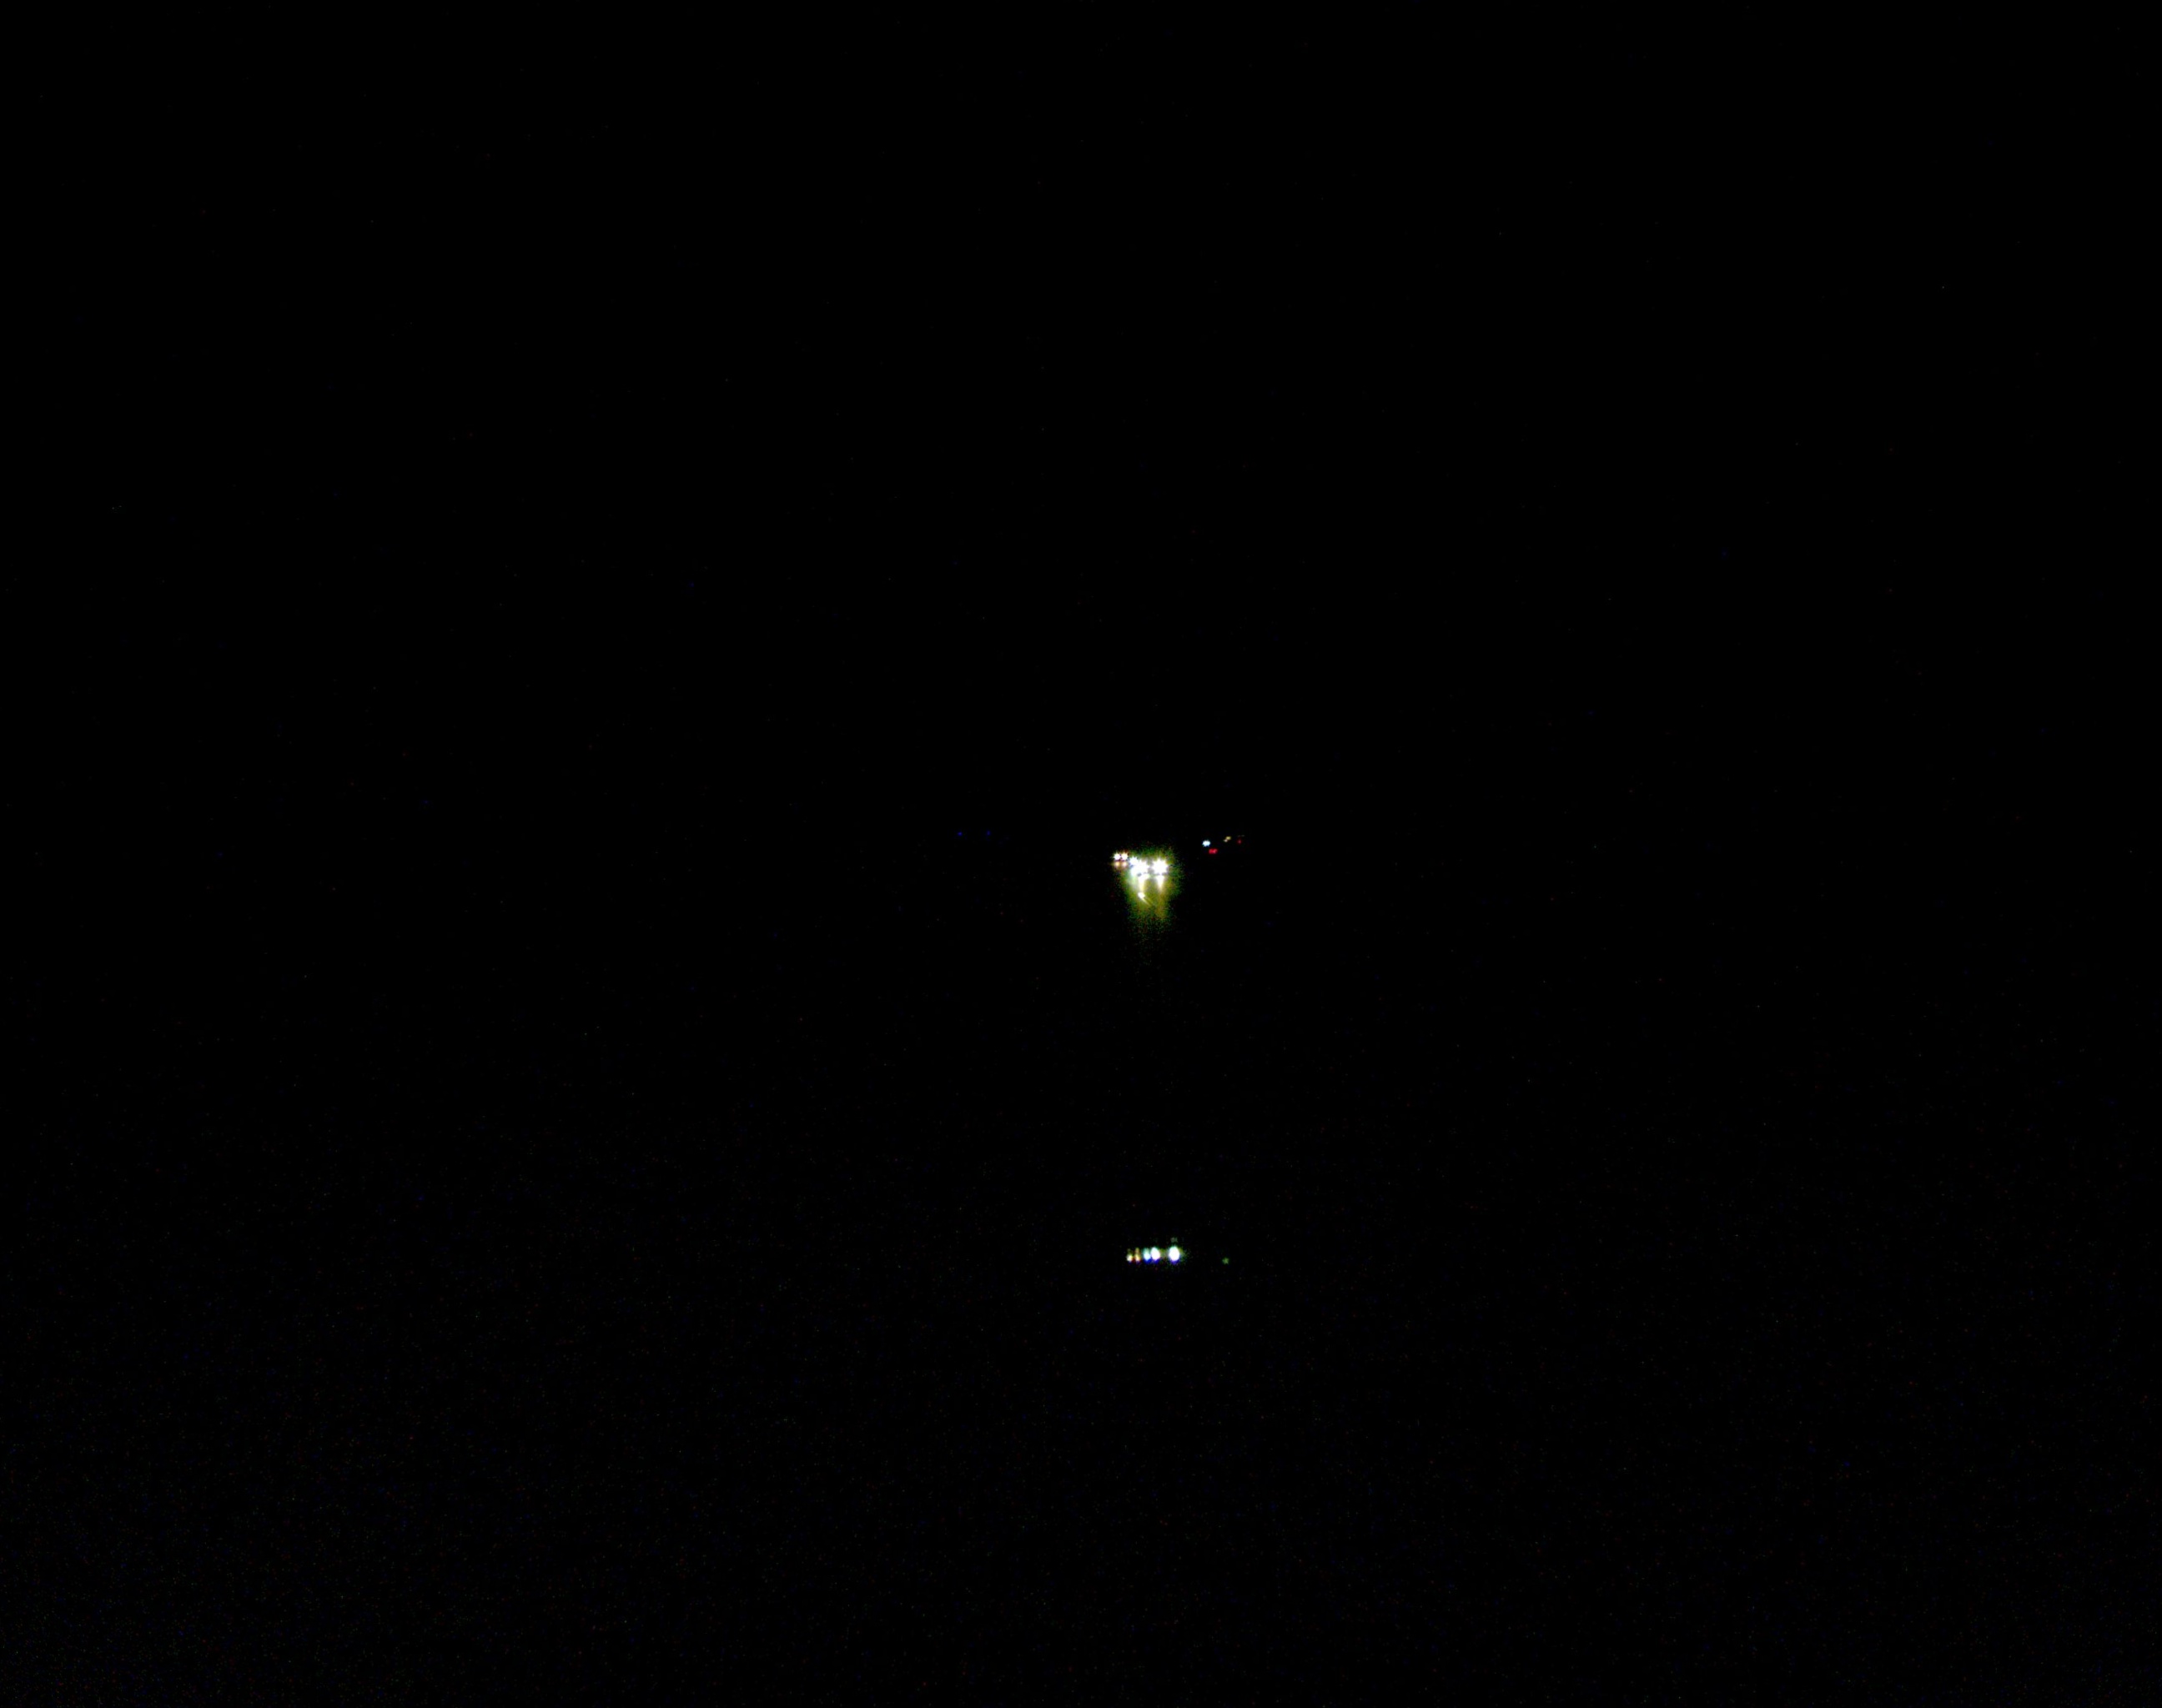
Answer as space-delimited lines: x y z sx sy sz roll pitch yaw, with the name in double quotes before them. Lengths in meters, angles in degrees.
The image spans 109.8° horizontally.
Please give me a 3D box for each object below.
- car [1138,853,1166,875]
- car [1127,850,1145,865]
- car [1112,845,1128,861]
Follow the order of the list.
"car" 5.060 0.686 54.248 1.832 1.404 4.001 -2 0 5
"car" 6.405 0.374 88.641 1.998 1.456 3.999 -2 2 3
"car" 7.756 -0.207 150.528 2.532 2.889 6.228 -2 2 8
